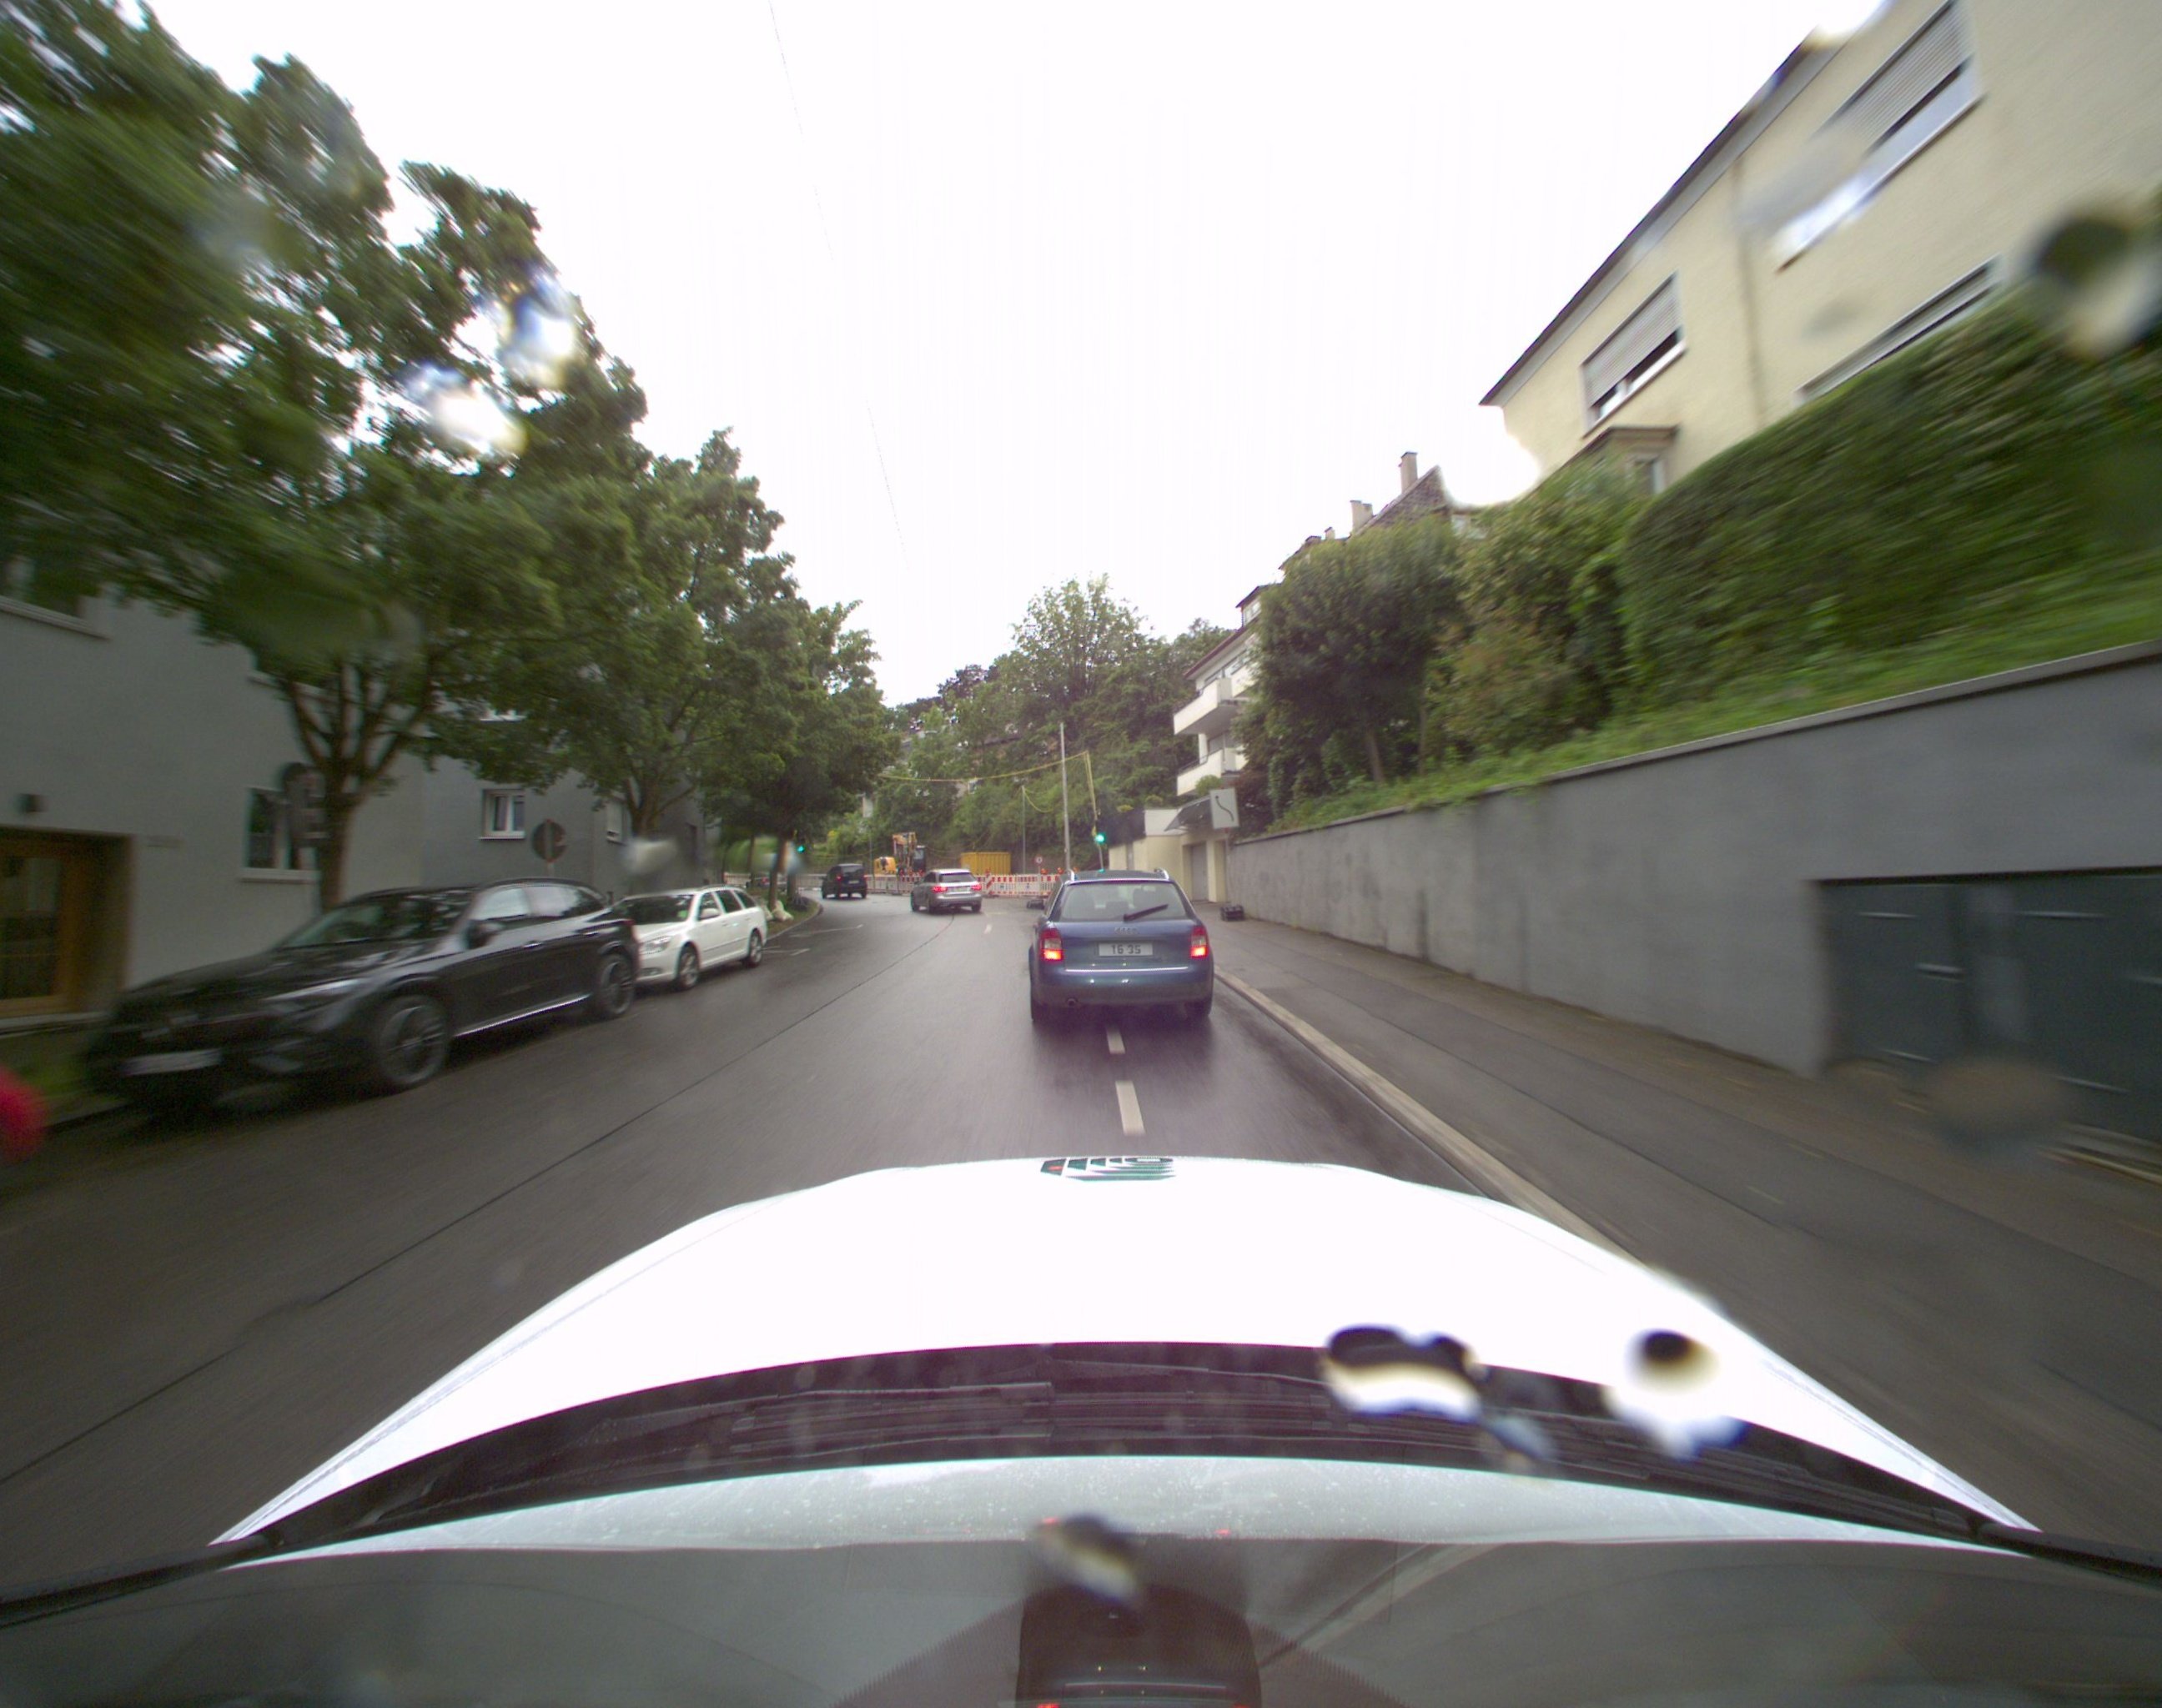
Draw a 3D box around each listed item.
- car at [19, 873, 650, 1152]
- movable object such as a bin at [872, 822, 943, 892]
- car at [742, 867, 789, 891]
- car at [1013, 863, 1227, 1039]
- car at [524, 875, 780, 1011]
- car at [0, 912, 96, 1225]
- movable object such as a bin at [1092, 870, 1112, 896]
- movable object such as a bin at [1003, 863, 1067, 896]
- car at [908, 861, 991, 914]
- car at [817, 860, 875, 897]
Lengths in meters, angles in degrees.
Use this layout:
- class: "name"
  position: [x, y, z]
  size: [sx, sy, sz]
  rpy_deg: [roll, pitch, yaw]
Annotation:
- class: "car"
  position: [-6.105, 1.090, 7.640]
  size: [1.677, 1.608, 4.574]
  rpy_deg: [-4, 0, -2]
- class: "movable object such as a bin"
  position: [-10.980, 0.195, 50.889]
  size: [2.832, 4.014, 7.268]
  rpy_deg: [-2, 0, -24]
- class: "car"
  position: [-21.964, 1.781, 56.654]
  size: [1.736, 1.486, 4.027]
  rpy_deg: [-3, -1, -41]
- class: "car"
  position: [0.346, 0.843, 8.911]
  size: [1.780, 1.442, 3.963]
  rpy_deg: [-2, -1, 0]
- class: "car"
  position: [-6.403, 1.215, 12.801]
  size: [1.677, 1.508, 4.313]
  rpy_deg: [-5, 0, -1]
- class: "car"
  position: [-6.254, 1.126, 2.565]
  size: [1.629, 1.564, 3.843]
  rpy_deg: [-6, -2, -3]
- class: "movable object such as a bin"
  position: [0.857, 1.190, 33.947]
  size: [0.718, 1.032, 0.591]
  rpy_deg: [-3, -1, -6]
- class: "movable object such as a bin"
  position: [-2.382, 1.241, 41.464]
  size: [2.002, 1.519, 3.969]
  rpy_deg: [-1, 0, -24]
- class: "car"
  position: [-4.645, 1.085, 28.258]
  size: [1.934, 1.618, 4.289]
  rpy_deg: [-2, 0, -21]
- class: "car"
  position: [-12.818, 1.344, 44.316]
  size: [2.007, 1.794, 3.960]
  rpy_deg: [-3, -1, -31]
